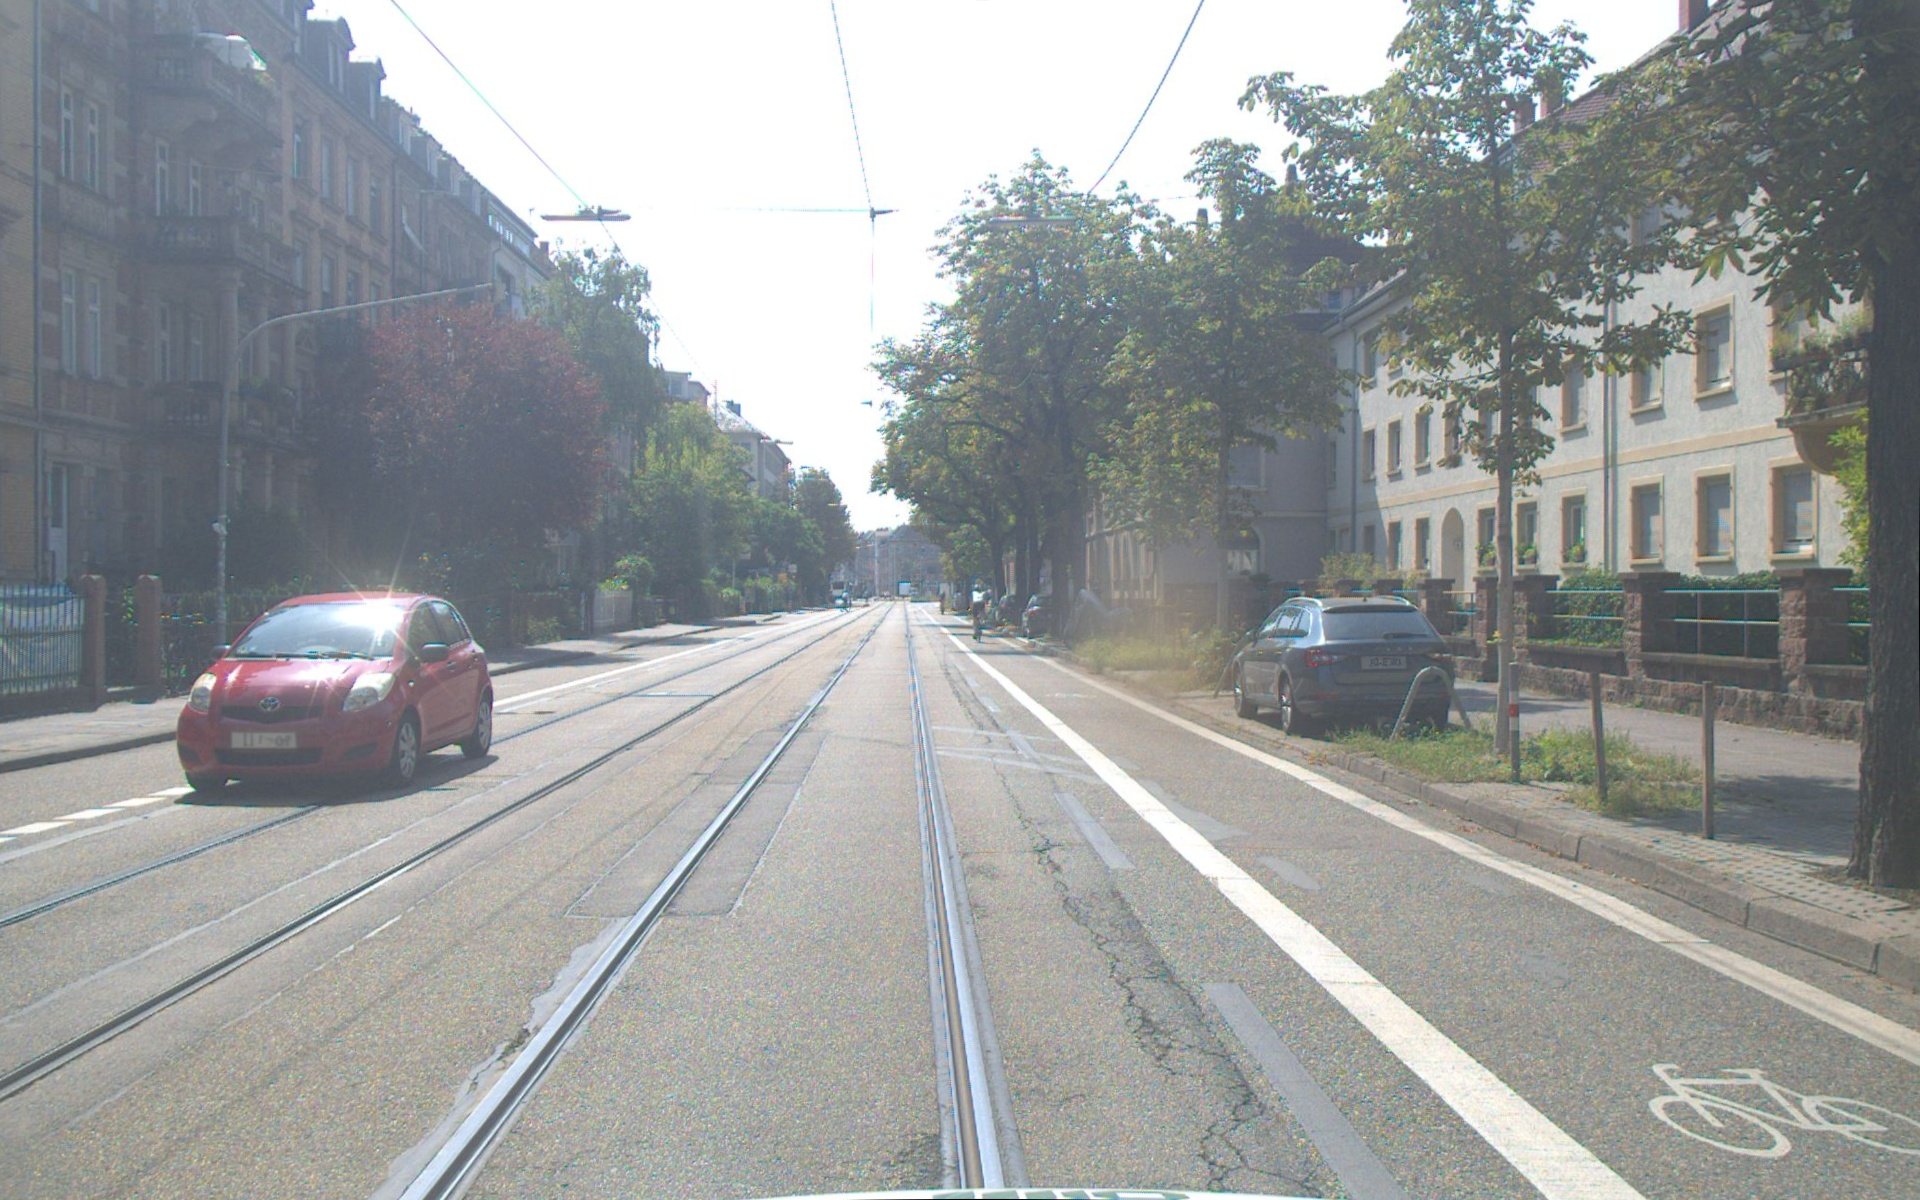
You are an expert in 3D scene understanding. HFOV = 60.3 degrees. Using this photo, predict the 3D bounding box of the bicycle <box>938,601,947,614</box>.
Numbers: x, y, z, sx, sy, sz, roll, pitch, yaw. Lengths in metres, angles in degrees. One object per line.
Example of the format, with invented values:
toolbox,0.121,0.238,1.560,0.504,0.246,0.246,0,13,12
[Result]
bicycle,-1.276,0.564,120.235,0.576,0.955,2.172,0,0,0

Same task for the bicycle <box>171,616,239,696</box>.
bicycle,-11.066,0.801,24.264,0.382,1.118,1.567,0,0,-4

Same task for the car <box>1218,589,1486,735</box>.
car,4.457,0.636,19.618,1.854,1.503,4.838,0,0,-2

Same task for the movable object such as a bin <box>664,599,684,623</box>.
movable object such as a bin,-13.635,0.525,78.800,0.770,1.094,0.803,1,0,1

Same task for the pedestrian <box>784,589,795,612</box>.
pedestrian,-13.515,0.056,131.342,0.764,1.787,1.040,-1,-1,-2

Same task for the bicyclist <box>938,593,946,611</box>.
bicyclist,-1.277,0.123,120.238,0.567,1.301,0.471,0,-1,0

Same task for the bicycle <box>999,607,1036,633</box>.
bicycle,2.487,0.846,71.075,1.572,1.123,0.399,0,0,4

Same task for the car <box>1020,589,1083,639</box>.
car,3.146,0.462,57.741,1.803,1.559,4.113,-1,2,-2

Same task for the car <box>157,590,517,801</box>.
car,-5.106,0.687,14.150,1.697,1.516,3.998,-1,0,-3

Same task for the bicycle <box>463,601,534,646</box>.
bicycle,-12.964,0.656,46.495,1.775,1.202,0.716,1,0,0

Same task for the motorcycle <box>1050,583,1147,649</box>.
motorcycle,3.515,0.415,42.069,2.302,1.567,0.964,-3,-2,39

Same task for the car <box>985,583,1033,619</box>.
car,2.189,0.053,75.396,1.804,1.559,4.777,-2,0,-2

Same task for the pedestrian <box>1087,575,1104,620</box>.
pedestrian,5.828,-0.085,71.208,0.692,1.925,0.714,0,-1,-1

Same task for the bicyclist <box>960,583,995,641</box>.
bicyclist,0.550,0.384,53.357,1.102,1.869,0.955,0,-1,-2

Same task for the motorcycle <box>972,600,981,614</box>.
motorcycle,1.270,0.524,127.859,0.538,1.086,2.329,0,0,-2

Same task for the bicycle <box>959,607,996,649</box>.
bicycle,0.558,0.895,53.298,1.124,1.291,2.712,0,0,-1

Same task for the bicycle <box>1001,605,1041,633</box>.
bicycle,2.637,0.817,71.460,1.686,1.169,0.377,0,0,4

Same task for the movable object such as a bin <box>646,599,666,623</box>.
movable object such as a bin,-14.458,0.514,78.774,0.770,1.094,0.803,1,0,1

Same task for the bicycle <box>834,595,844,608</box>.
bicycle,-9.542,0.117,130.747,0.743,1.008,2.297,0,0,-2

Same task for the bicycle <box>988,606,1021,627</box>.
bicycle,2.284,0.851,85.473,1.678,1.050,0.566,0,0,-1
